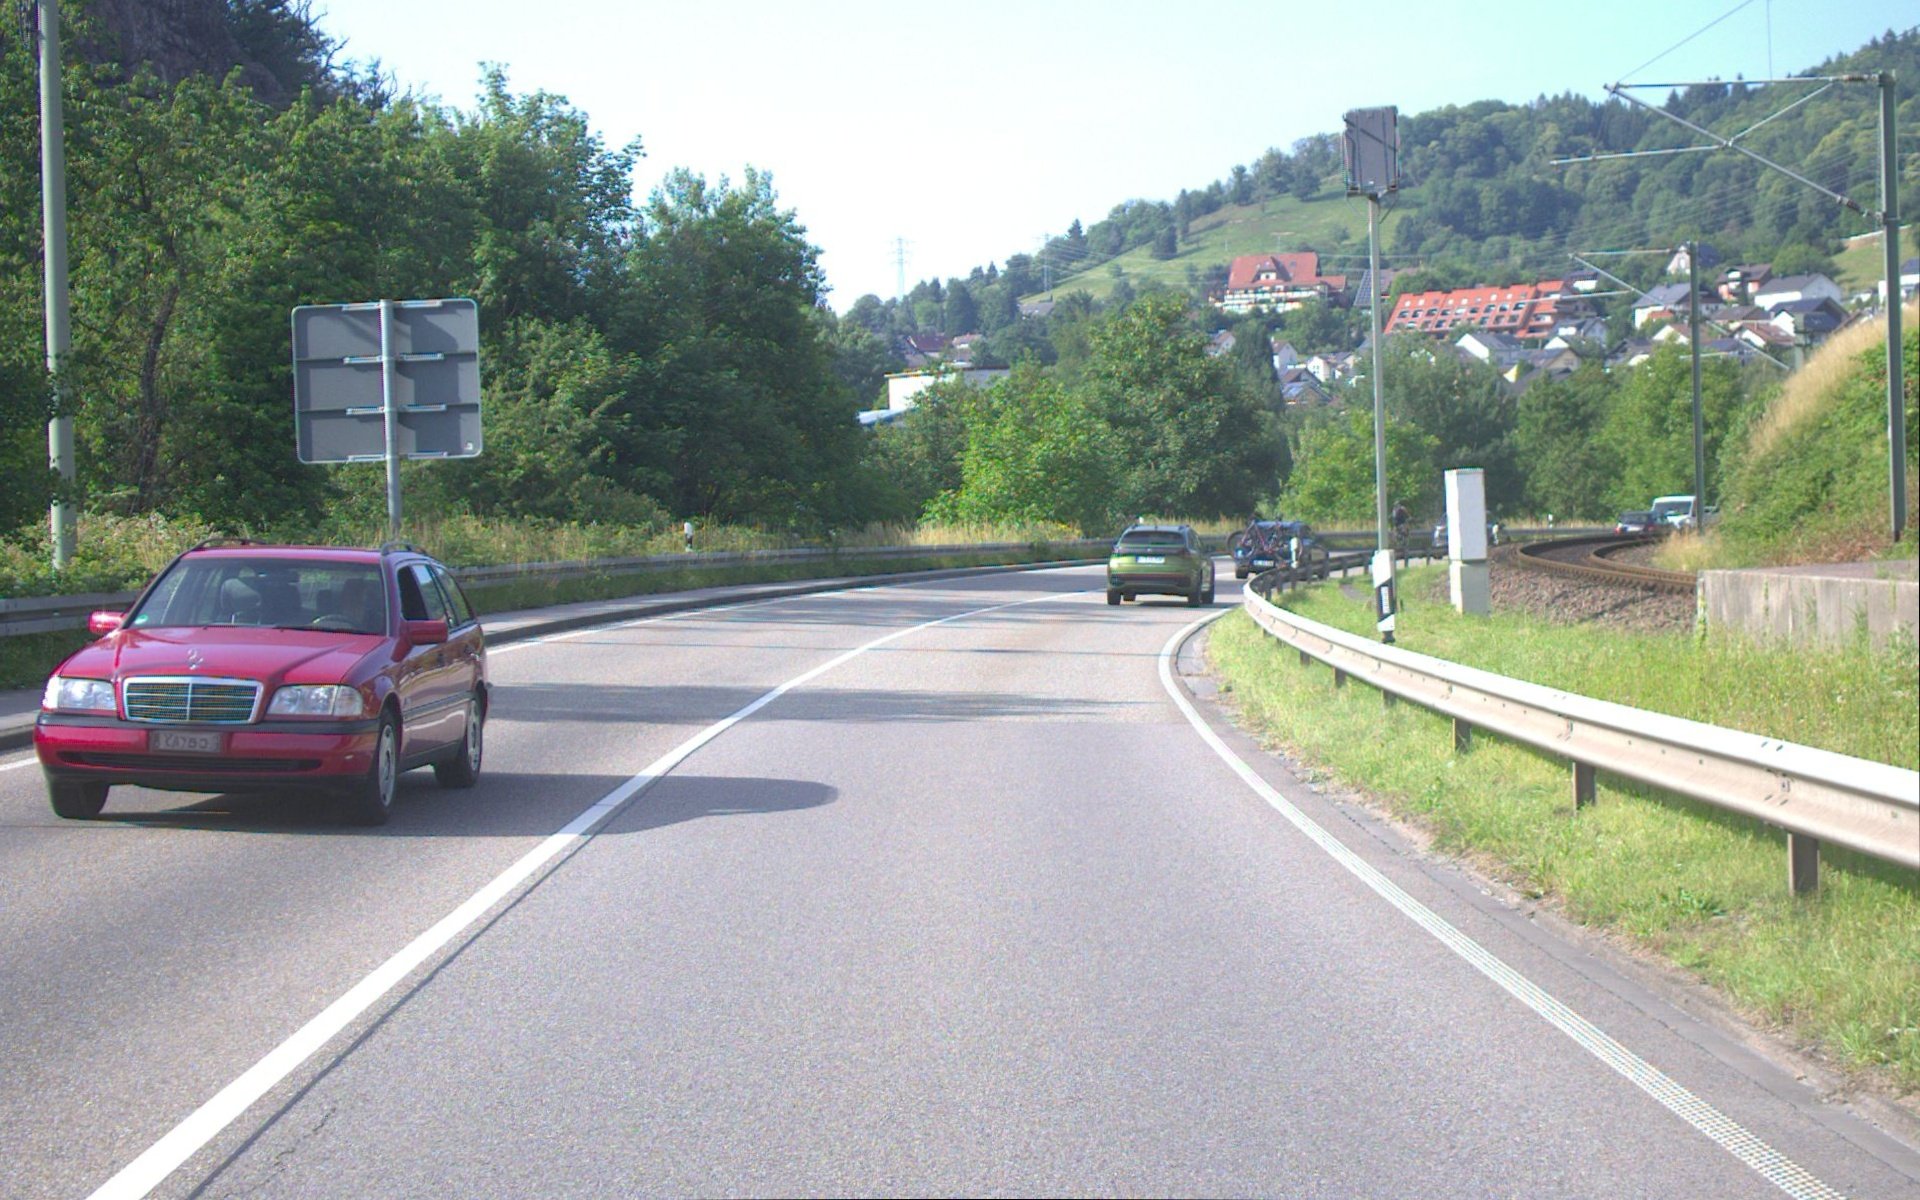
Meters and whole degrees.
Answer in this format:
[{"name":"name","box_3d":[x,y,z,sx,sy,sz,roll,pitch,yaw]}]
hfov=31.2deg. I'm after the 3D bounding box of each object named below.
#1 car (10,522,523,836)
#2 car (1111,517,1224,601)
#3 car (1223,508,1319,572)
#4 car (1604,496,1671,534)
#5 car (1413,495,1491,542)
[{"name":"car","box_3d":[-3.681,0.327,19.154,1.841,1.464,4.944,1,1,0]},{"name":"car","box_3d":[3.912,-0.790,64.459,1.729,1.452,3.409,-2,1,9]},{"name":"car","box_3d":[7.712,-1.486,84.929,1.841,1.454,3.711,-2,1,13]},{"name":"car","box_3d":[26.727,-3.359,135.539,1.810,1.403,3.769,-2,1,23]},{"name":"car","box_3d":[16.138,-2.680,112.619,1.808,1.448,3.644,-2,1,19]}]
